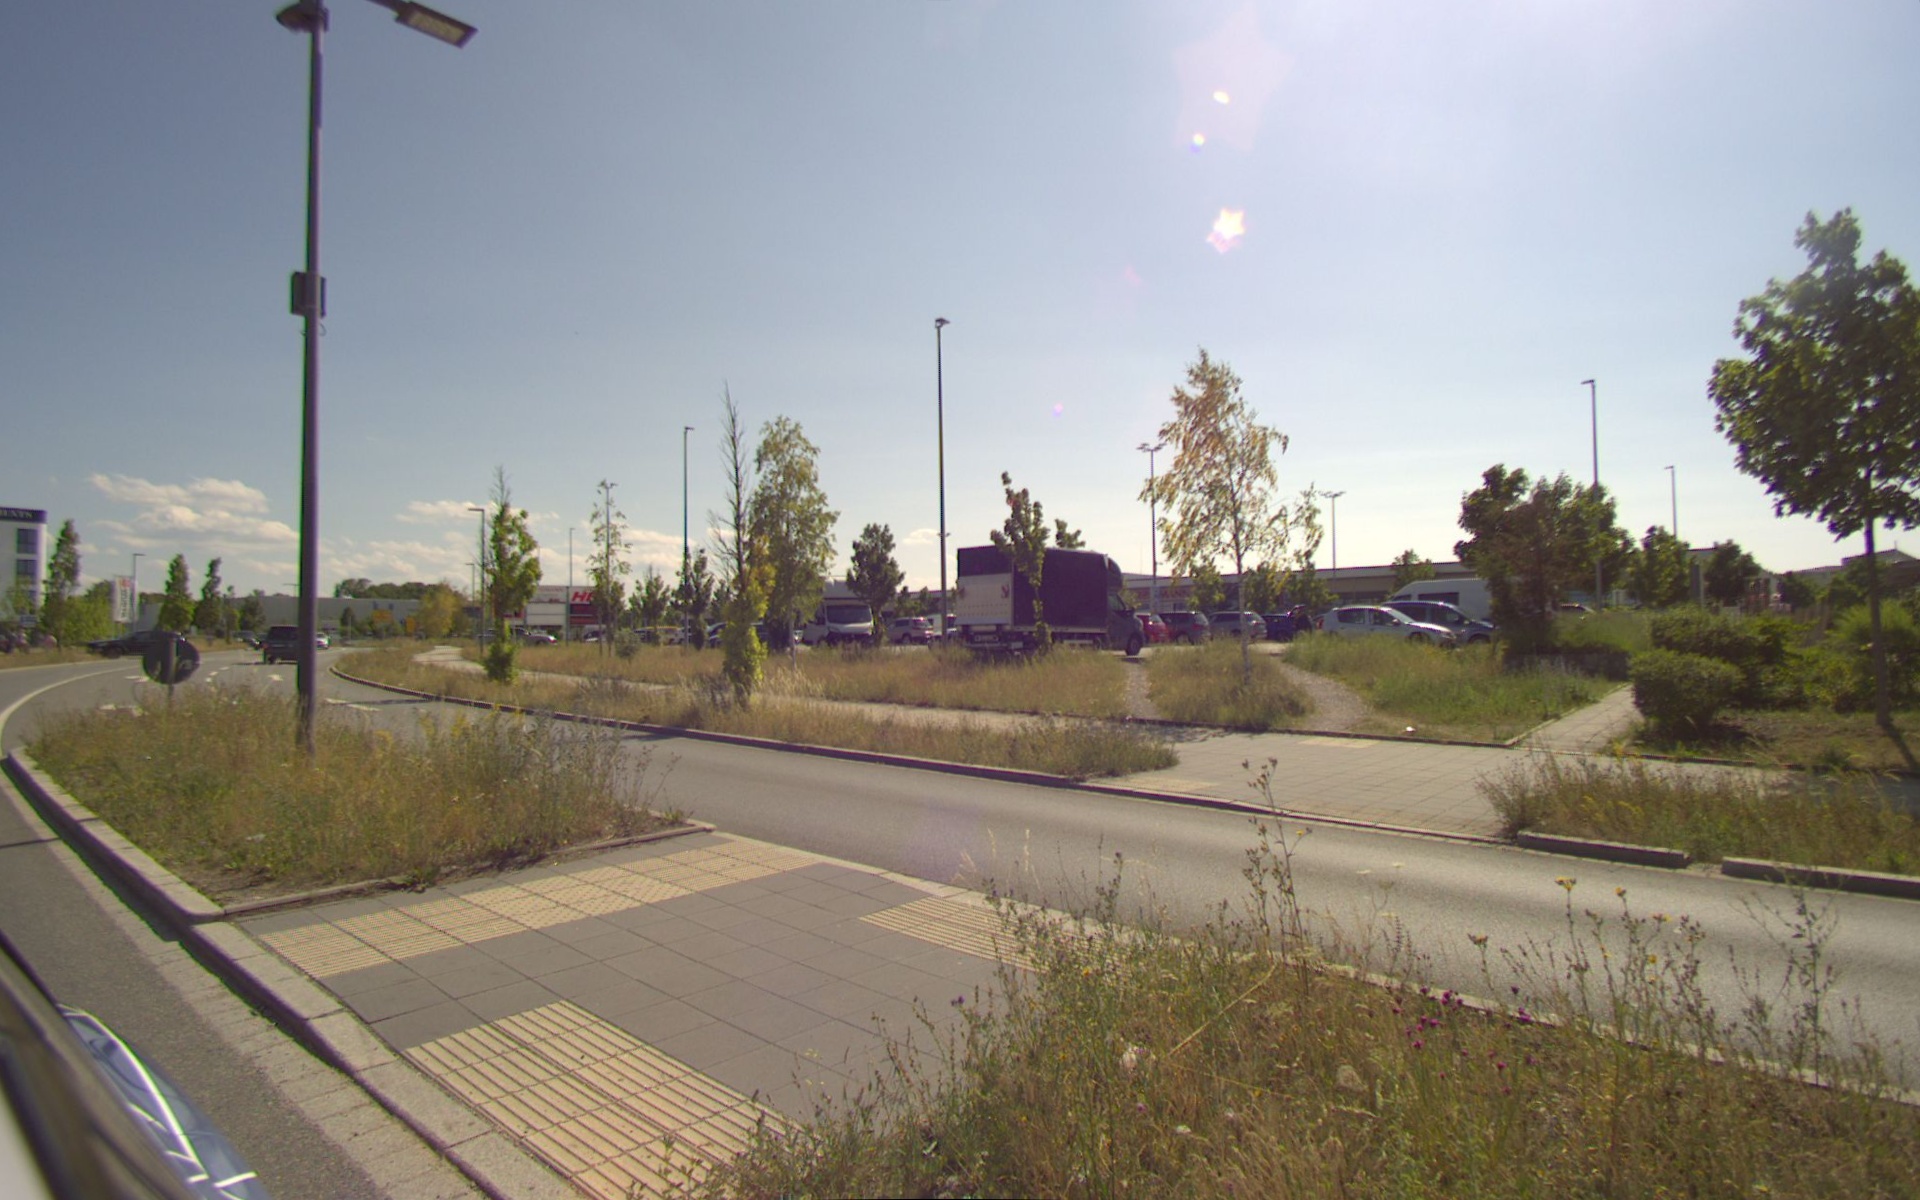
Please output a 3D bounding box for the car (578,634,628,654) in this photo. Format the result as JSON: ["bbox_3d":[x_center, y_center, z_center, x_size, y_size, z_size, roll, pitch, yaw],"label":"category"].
[{"bbox_3d":[-33.430,4.137,94.760,4.086,1.875,1.938,1,-3,-29],"label":"car"}]

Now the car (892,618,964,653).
[{"bbox_3d":[-1.993,2.185,61.997,4.382,2.080,1.812,-2,-3,44],"label":"car"}]

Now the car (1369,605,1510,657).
[{"bbox_3d":[16.444,1.092,34.811,4.080,1.683,1.644,-2,-3,40],"label":"car"}]

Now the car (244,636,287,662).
[{"bbox_3d":[-46.312,3.259,67.578,1.727,1.700,4.395,1,-3,-26],"label":"car"}]

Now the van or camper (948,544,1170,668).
[{"bbox_3d":[3.309,0.270,31.953,7.600,3.495,2.558,2,-3,-43],"label":"van or camper"}]

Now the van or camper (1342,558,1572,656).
[{"bbox_3d":[18.189,0.369,37.415,7.233,3.296,2.404,-2,-3,42],"label":"van or camper"}]

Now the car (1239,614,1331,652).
[{"bbox_3d":[17.655,1.796,55.052,4.379,2.010,1.813,-2,-3,41],"label":"car"}]

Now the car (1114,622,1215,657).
[{"bbox_3d":[9.659,1.871,48.006,4.379,1.574,1.813,-2,-3,41],"label":"car"}]

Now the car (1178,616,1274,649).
[{"bbox_3d":[13.510,1.669,51.611,4.379,1.574,1.813,-2,-3,41],"label":"car"}]

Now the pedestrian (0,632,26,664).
[{"bbox_3d":[-49.455,2.519,52.865,0.789,1.642,0.807,0,-2,-27],"label":"pedestrian"}]

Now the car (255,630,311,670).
[{"bbox_3d":[-32.348,2.412,48.443,1.924,1.808,4.439,2,-4,-30],"label":"car"}]

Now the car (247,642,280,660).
[{"bbox_3d":[-59.978,4.350,87.207,1.756,1.505,4.013,0,-2,-26],"label":"car"}]

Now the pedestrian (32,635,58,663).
[{"bbox_3d":[-49.064,2.640,54.267,0.781,1.481,0.952,0,-2,-27],"label":"pedestrian"}]

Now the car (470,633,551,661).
[{"bbox_3d":[-28.970,3.057,65.374,4.694,1.656,2.122,0,-4,-23],"label":"car"}]

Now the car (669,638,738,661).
[{"bbox_3d":[-17.671,3.412,69.773,4.178,1.559,1.912,-1,-2,9],"label":"car"}]

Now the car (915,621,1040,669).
[{"bbox_3d":[0.654,1.558,35.391,4.316,1.564,1.839,2,-3,-44],"label":"car"}]

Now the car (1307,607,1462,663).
[{"bbox_3d":[12.993,1.084,31.082,4.080,1.627,1.644,-2,-3,40],"label":"car"}]

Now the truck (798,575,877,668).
[{"bbox_3d":[-5.206,0.930,41.834,2.285,3.491,7.514,0,-2,-14],"label":"truck"}]

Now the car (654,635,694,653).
[{"bbox_3d":[-42.283,6.564,149.775,1.939,2.608,5.642,-3,-3,40],"label":"car"}]

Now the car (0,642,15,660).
[{"bbox_3d":[-74.962,3.968,78.687,1.492,1.418,4.011,1,-3,-33],"label":"car"}]

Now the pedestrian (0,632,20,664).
[{"bbox_3d":[-50.118,2.511,53.214,0.797,1.641,0.869,0,-2,-27],"label":"pedestrian"}]

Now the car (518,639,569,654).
[{"bbox_3d":[-48.691,5.468,118.277,5.116,1.685,2.003,2,-3,-41],"label":"car"}]

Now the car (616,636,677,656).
[{"bbox_3d":[-31.735,4.624,102.535,5.606,1.980,2.005,2,-3,-36],"label":"car"}]

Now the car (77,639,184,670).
[{"bbox_3d":[-48.079,3.148,58.782,1.891,1.692,4.429,-3,-4,25],"label":"car"}]

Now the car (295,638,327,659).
[{"bbox_3d":[-54.906,4.105,85.675,1.923,1.740,4.440,2,-4,-28],"label":"car"}]

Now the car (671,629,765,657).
[{"bbox_3d":[-12.916,2.282,54.064,4.513,1.469,1.843,1,-2,-33],"label":"car"}]

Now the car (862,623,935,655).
[{"bbox_3d":[-3.678,2.310,59.990,4.382,1.837,1.812,-2,-3,44],"label":"car"}]

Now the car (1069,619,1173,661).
[{"bbox_3d":[7.287,1.813,46.021,4.379,1.787,1.813,-2,-3,41],"label":"car"}]

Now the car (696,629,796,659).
[{"bbox_3d":[-10.430,2.129,49.355,4.363,1.394,1.981,1,-2,-33],"label":"car"}]

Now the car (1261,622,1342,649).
[{"bbox_3d":[21.113,2.189,62.594,4.379,1.625,1.813,-2,-3,41],"label":"car"}]
